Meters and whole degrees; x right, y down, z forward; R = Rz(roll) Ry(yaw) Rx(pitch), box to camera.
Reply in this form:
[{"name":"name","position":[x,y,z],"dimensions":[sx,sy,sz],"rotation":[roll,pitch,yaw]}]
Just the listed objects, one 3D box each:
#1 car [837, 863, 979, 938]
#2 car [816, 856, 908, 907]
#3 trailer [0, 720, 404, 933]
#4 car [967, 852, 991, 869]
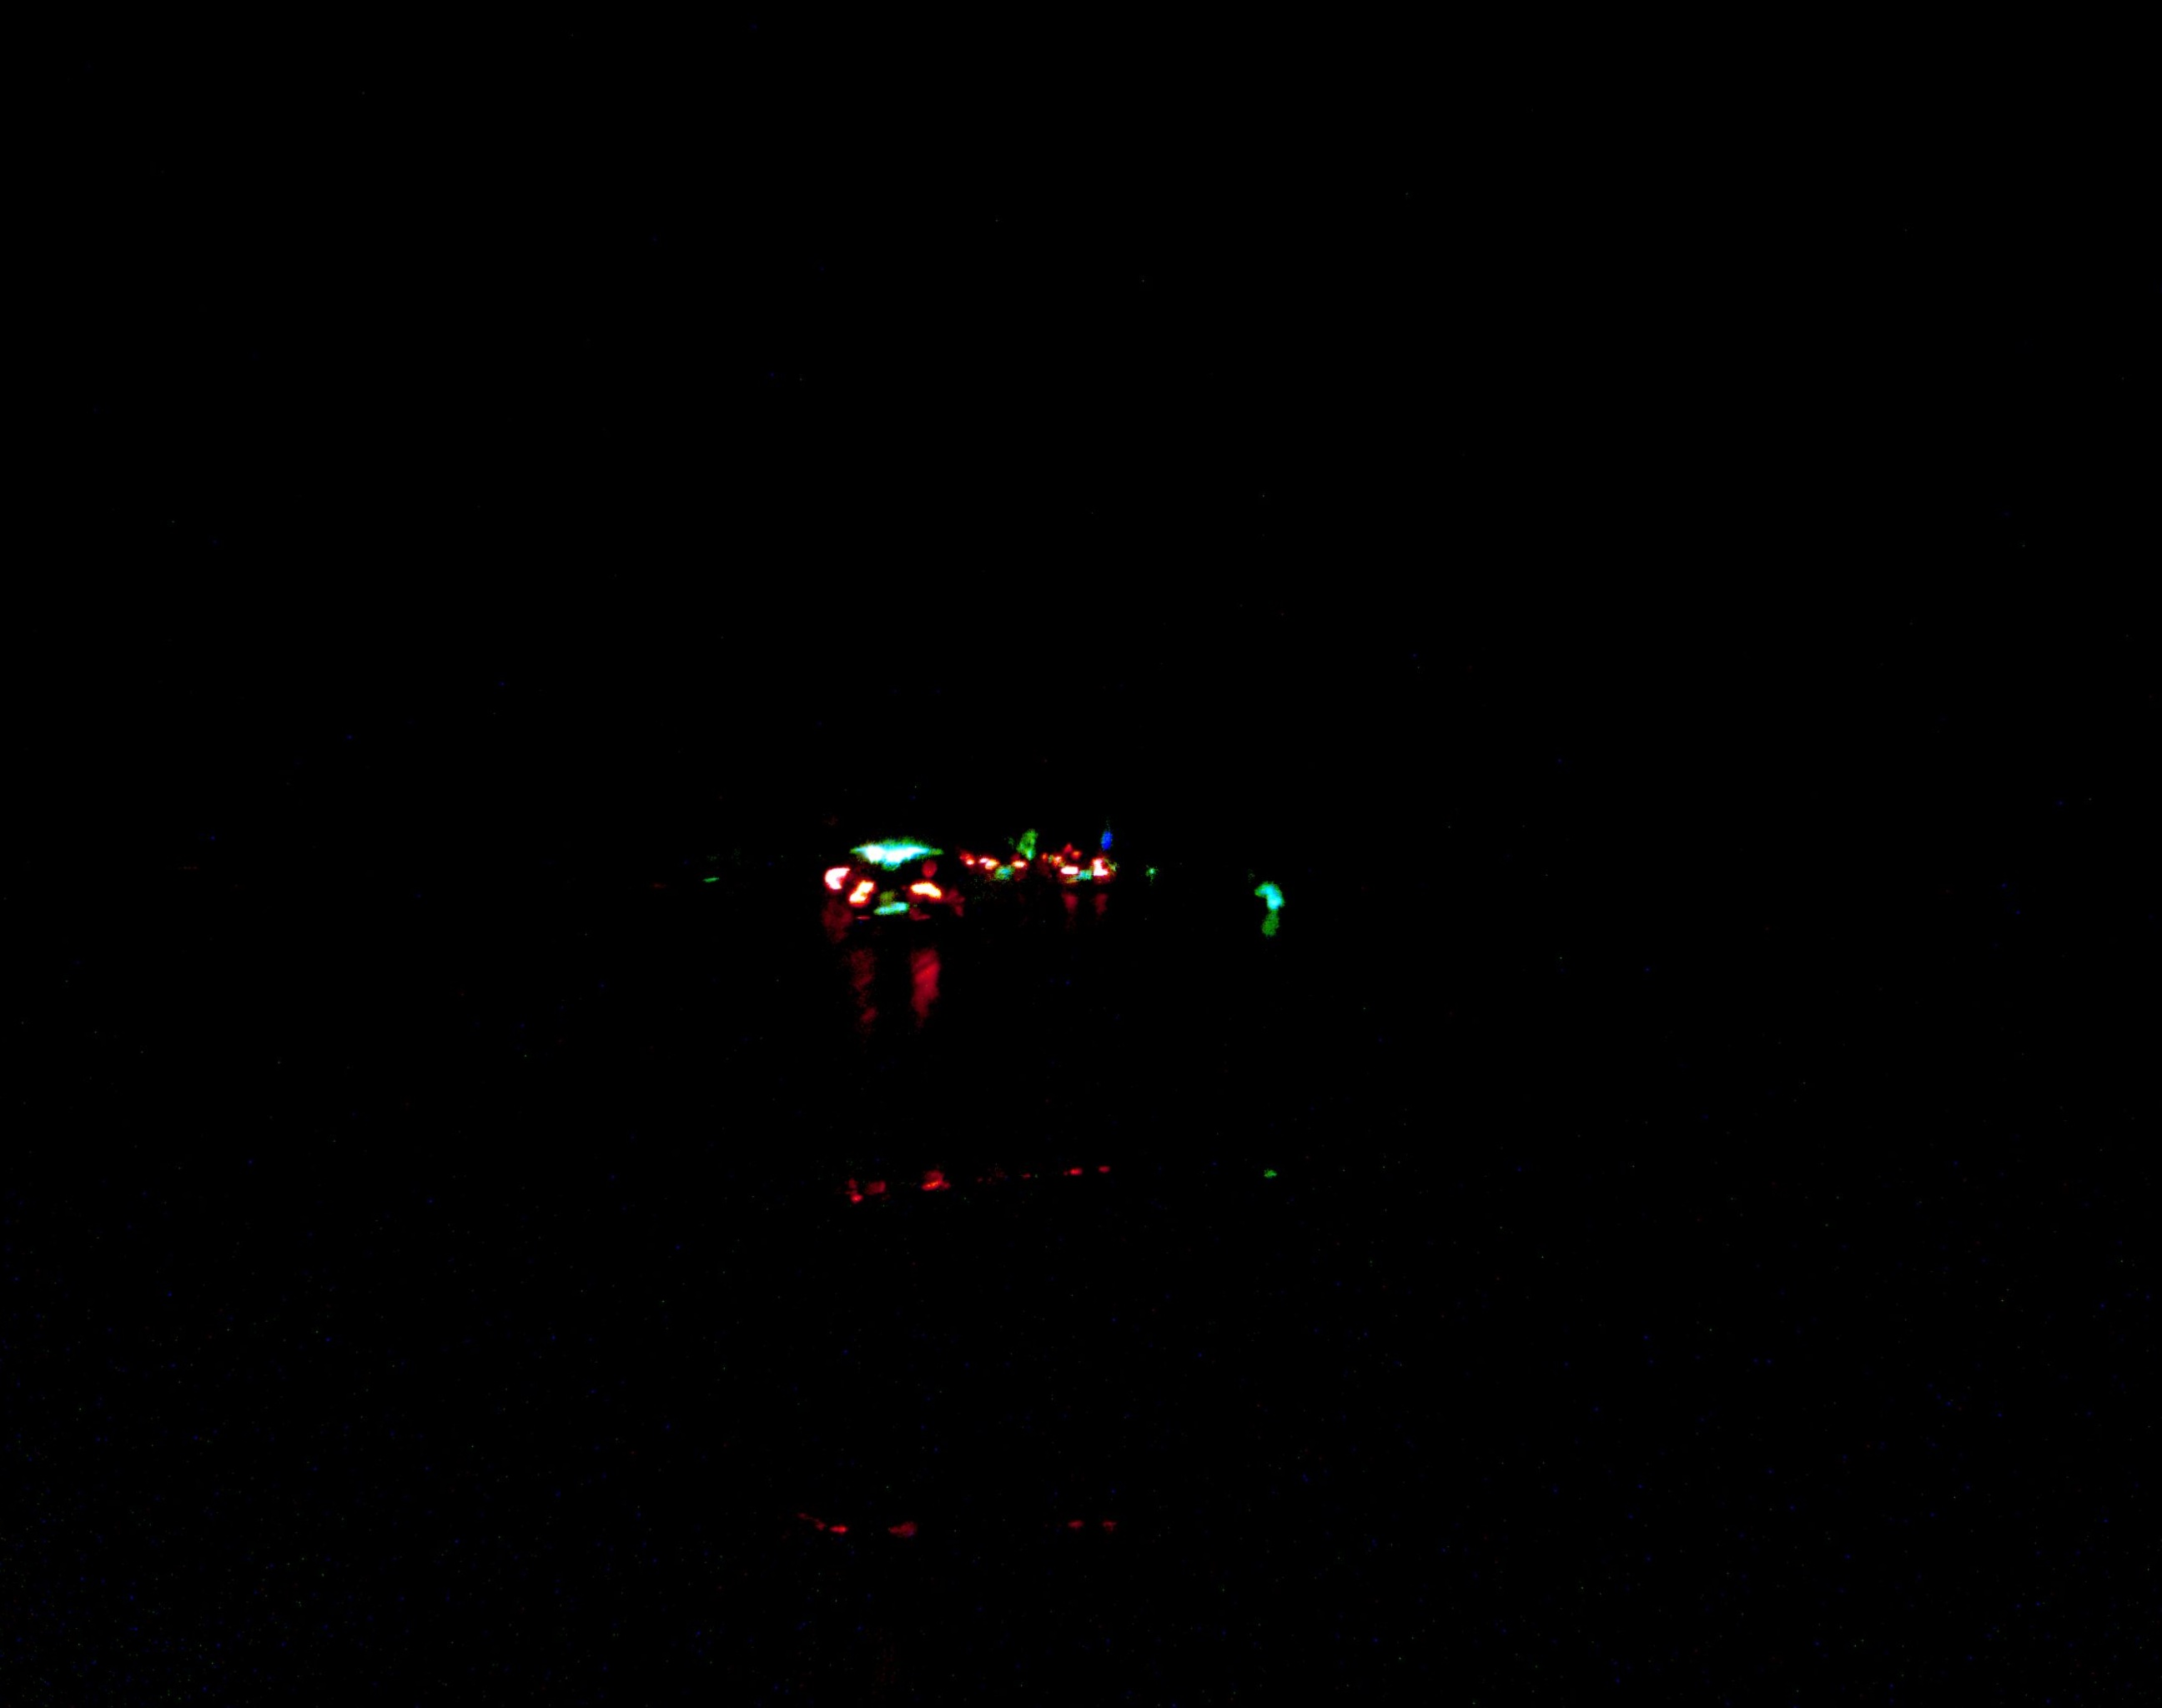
[{"name":"car","position":[-3.467,0.887,17.144],"dimensions":[1.954,1.380,4.051],"rotation":[1,-1,2]},{"name":"car","position":[-7.103,0.827,26.983],"dimensions":[1.762,1.517,4.913],"rotation":[0,0,-1]},{"name":"trailer","position":[-18.887,-0.421,15.911],"dimensions":[2.601,3.472,10.443],"rotation":[0,-1,0]},{"name":"car","position":[-9.656,0.606,77.595],"dimensions":[1.887,1.550,3.997],"rotation":[0,-1,-2]}]
